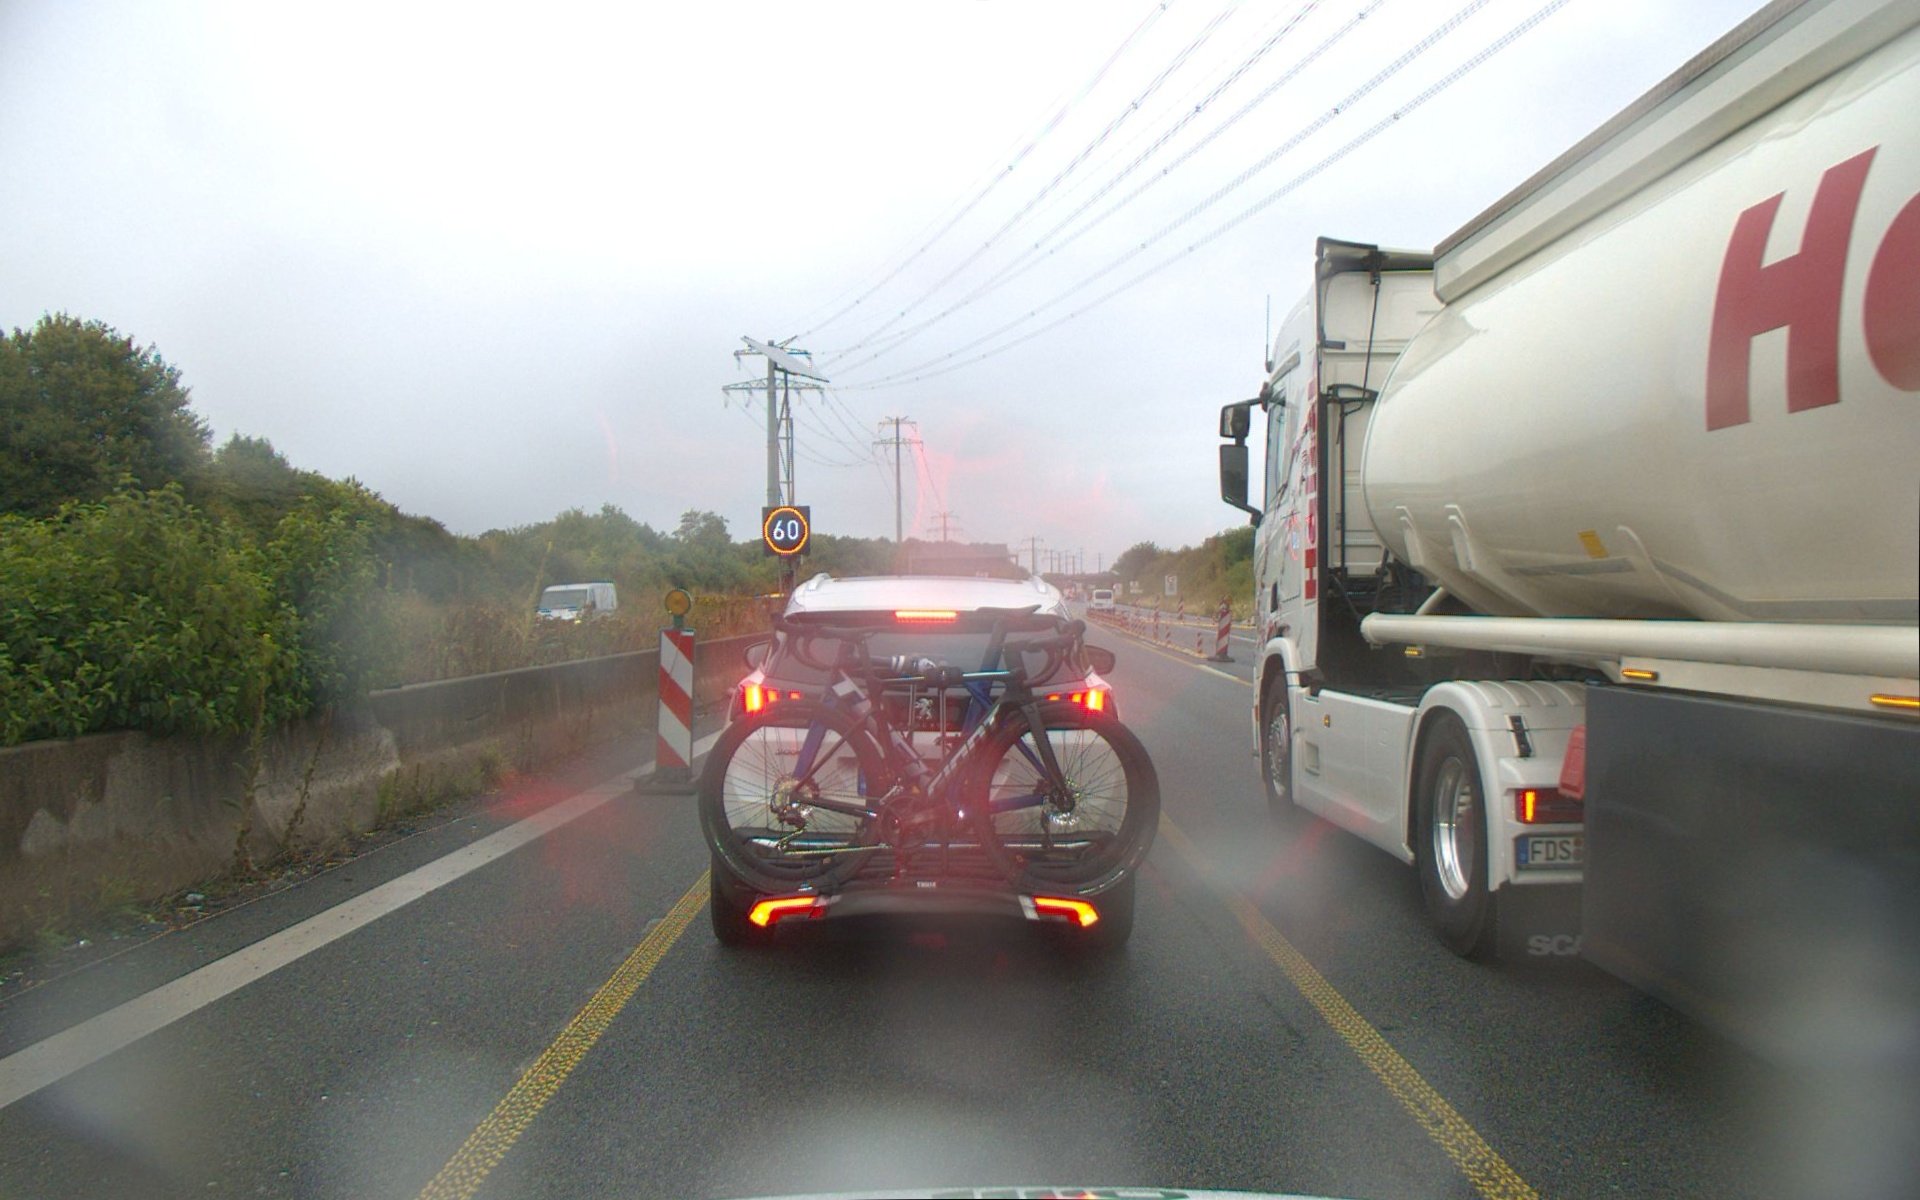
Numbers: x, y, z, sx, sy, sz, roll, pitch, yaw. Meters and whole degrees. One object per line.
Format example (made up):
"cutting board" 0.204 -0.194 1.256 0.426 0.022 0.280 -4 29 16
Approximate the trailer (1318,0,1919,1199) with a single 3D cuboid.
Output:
"trailer" 3.313 -0.412 3.609 2.584 3.961 10.541 1 0 -1

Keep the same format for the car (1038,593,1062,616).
"car" 8.281 0.459 152.634 1.953 2.049 3.999 1 0 -1

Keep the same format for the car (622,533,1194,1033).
"car" -0.115 0.595 7.782 1.888 1.639 4.596 0 0 1

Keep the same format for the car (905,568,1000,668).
"car" -0.190 0.362 36.691 1.953 2.049 3.999 -1 0 -1

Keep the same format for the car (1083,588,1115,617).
"car" 10.268 0.162 122.233 1.953 2.049 3.999 -1 0 -1

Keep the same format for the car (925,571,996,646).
"car" -0.002 0.225 48.003 1.953 2.049 3.999 -1 0 -1

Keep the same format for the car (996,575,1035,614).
"car" 3.081 -0.304 93.248 1.953 2.049 3.998 -1 -2 -1

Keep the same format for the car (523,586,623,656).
"car" -14.529 0.733 62.469 2.193 2.483 5.885 -1 1 2

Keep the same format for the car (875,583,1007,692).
"car" -0.309 0.543 26.595 1.953 1.611 3.999 0 0 -1

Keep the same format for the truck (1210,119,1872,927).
"truck" 3.193 -0.364 10.207 2.591 3.959 4.029 1 -1 -1

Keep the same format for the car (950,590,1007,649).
"car" 0.627 0.689 60.089 1.953 2.049 3.999 1 0 -1

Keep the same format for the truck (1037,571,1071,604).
"truck" 11.388 -1.591 202.305 3.654 3.889 11.871 1 1 1

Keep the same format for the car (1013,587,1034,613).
"car" 5.202 -0.016 134.575 1.619 2.049 4.002 0 0 3

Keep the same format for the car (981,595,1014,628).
"car" 2.431 0.752 106.829 1.953 2.049 3.999 1 0 -1
